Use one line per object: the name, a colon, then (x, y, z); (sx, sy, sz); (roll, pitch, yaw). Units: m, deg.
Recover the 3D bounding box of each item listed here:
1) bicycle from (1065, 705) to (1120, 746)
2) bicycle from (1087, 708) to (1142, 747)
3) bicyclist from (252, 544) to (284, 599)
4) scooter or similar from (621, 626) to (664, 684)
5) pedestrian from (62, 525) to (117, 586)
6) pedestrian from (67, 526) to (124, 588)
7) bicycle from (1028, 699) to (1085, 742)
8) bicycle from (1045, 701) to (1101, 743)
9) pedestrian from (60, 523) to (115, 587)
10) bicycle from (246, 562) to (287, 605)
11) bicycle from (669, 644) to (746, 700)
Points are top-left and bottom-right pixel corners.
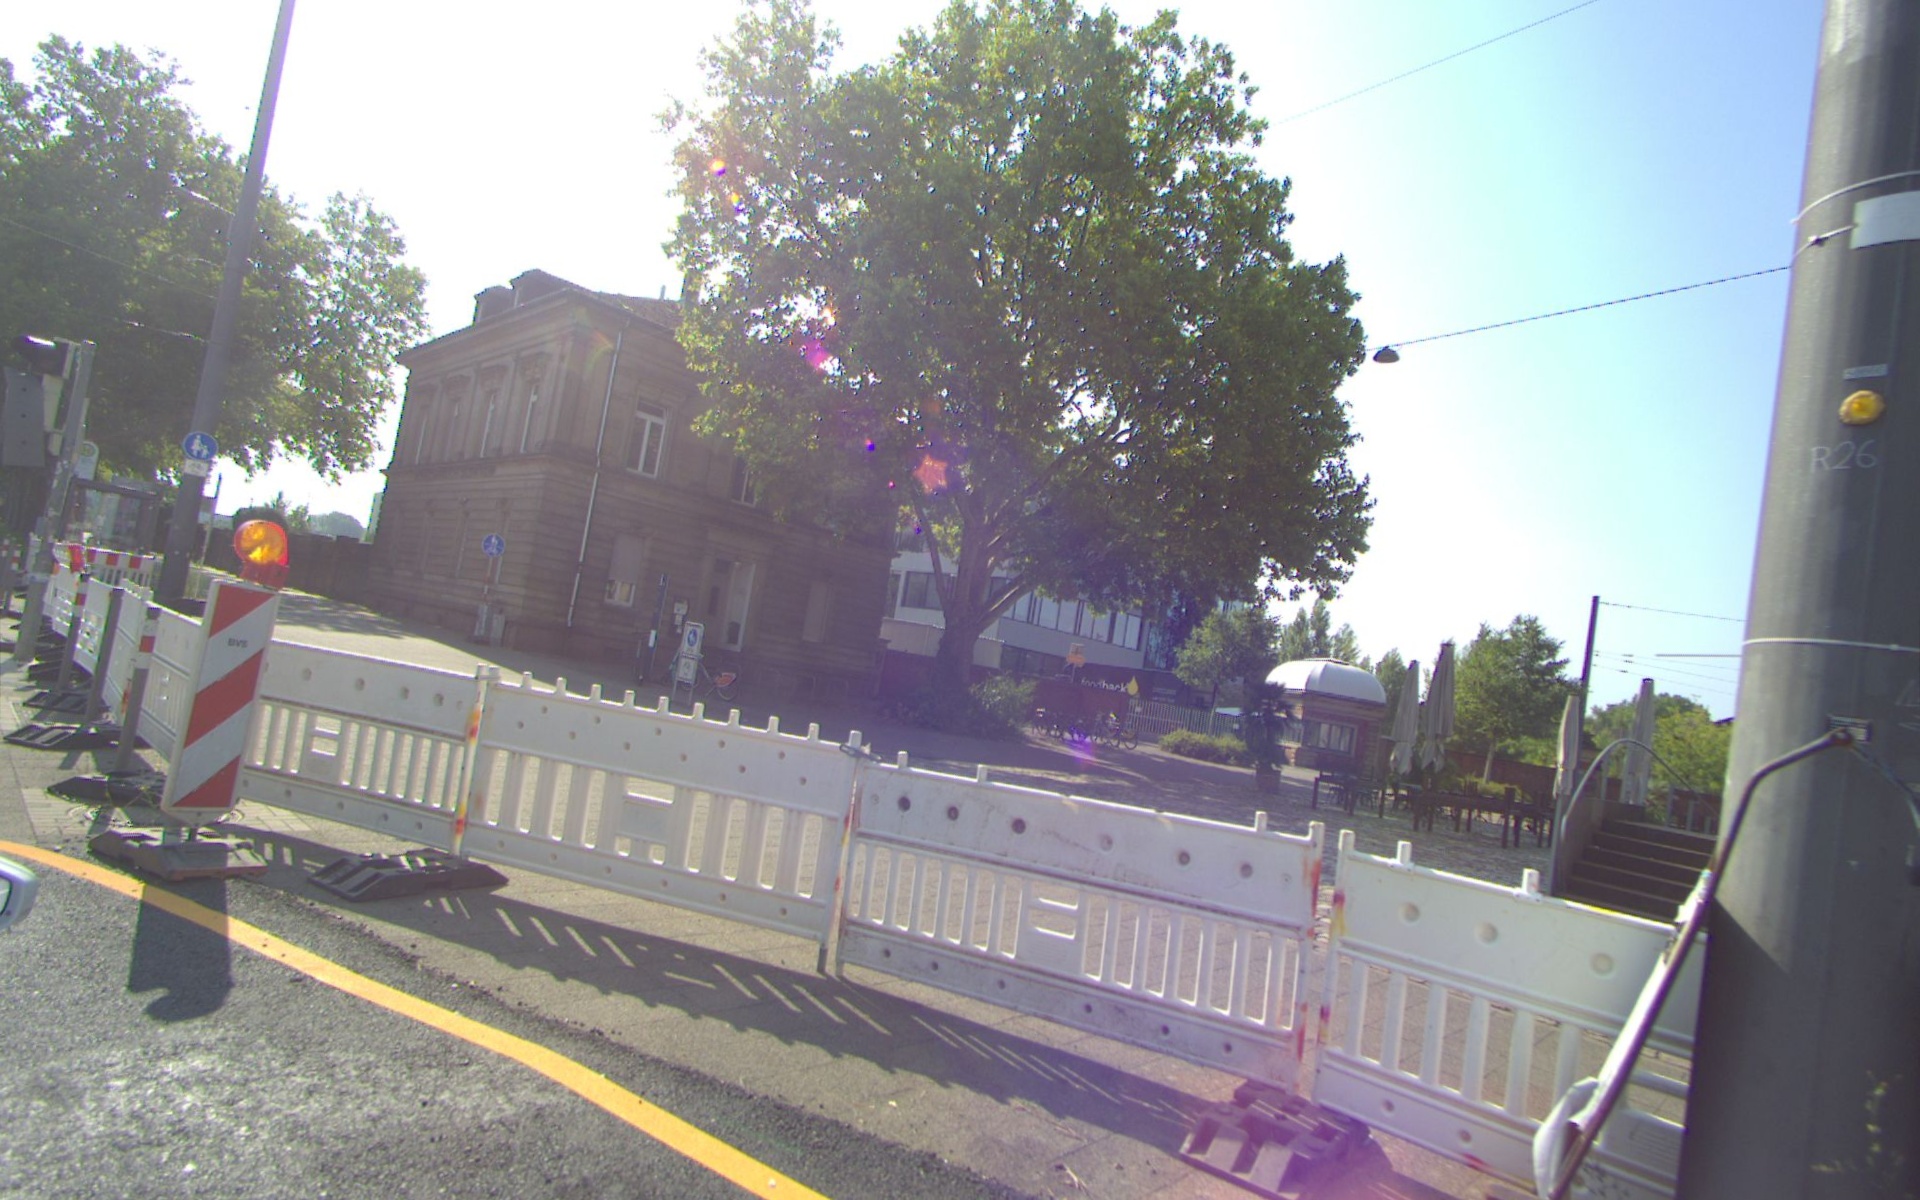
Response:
bicycle: (4.605, 4.355, 35.082); (1.832, 1.100, 0.491); (7, -3, 43)
bicycle: (5.529, 4.573, 36.164); (1.832, 1.100, 0.531); (7, -3, 43)
bicyclist: (-20.971, -0.864, 30.479); (0.588, 1.556, 0.469); (7, -3, 42)
scooter or similar: (-7.643, 1.309, 24.190); (0.424, 1.242, 1.161); (10, -3, -37)
pedestrian: (-20.263, -1.030, 23.419); (0.604, 1.274, 0.740); (5, -6, 45)
pedestrian: (-19.678, -0.979, 22.901); (0.604, 1.274, 0.740); (5, -6, 45)
bicycle: (3.224, 4.029, 33.662); (1.832, 1.100, 0.491); (7, -3, 43)
bicycle: (3.849, 4.168, 34.404); (1.832, 1.100, 0.491); (7, -3, 43)
pedestrian: (-20.717, -1.062, 23.897); (0.604, 1.379, 0.750); (5, -6, 45)
bicycle: (-21.020, -0.496, 30.477); (1.831, 1.100, 0.491); (7, -3, 42)
bicycle: (-6.165, 1.759, 24.548); (1.786, 1.010, 0.493); (10, -1, 27)
